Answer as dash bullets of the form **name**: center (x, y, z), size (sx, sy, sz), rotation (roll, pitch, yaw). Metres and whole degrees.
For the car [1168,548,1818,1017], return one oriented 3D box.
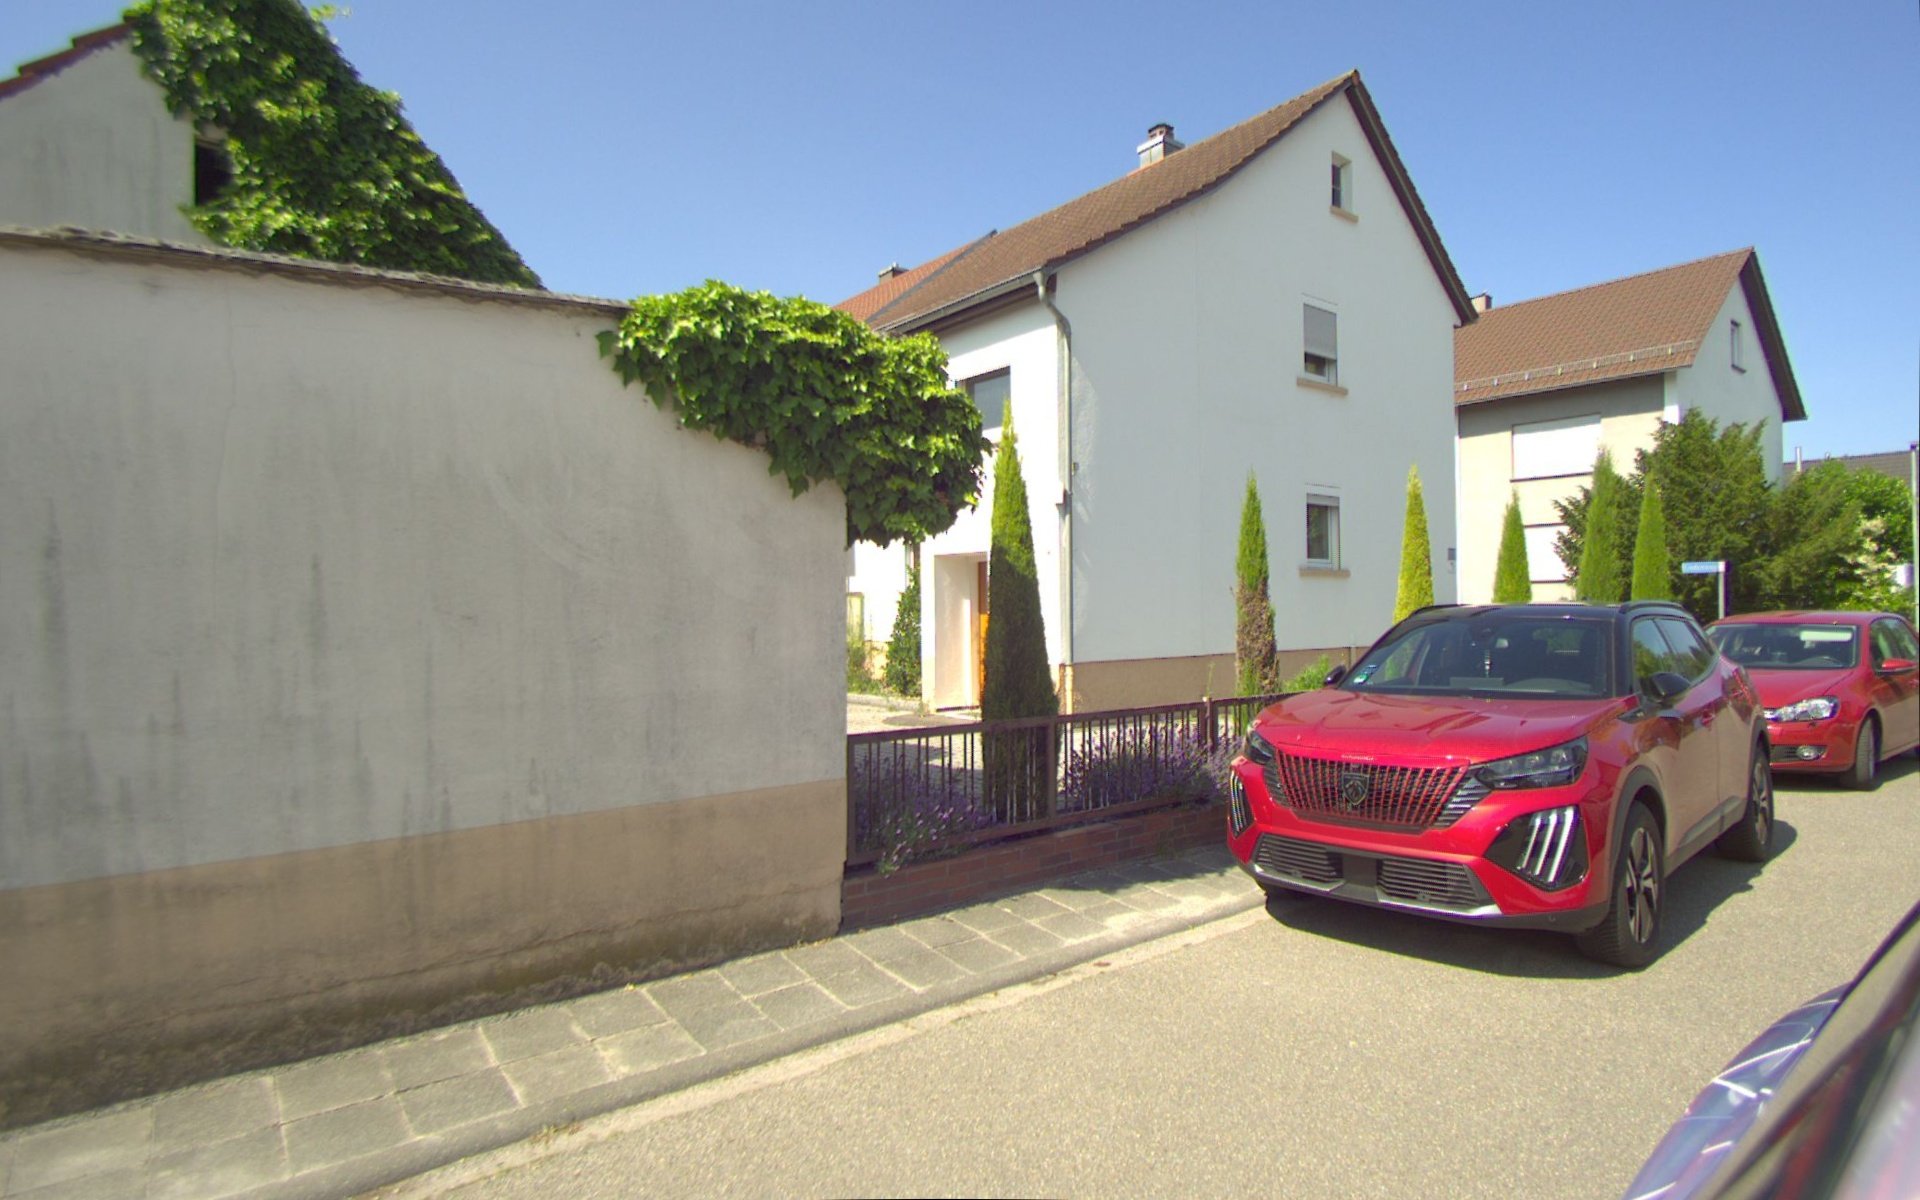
- **car**: center (3.103, 0.652, 5.541), size (3.930, 1.636, 1.825), rotation (0, -2, -41)

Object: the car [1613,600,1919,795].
- **car**: center (8.148, 0.779, 9.695), size (3.924, 1.498, 1.780), rotation (0, -2, -35)
